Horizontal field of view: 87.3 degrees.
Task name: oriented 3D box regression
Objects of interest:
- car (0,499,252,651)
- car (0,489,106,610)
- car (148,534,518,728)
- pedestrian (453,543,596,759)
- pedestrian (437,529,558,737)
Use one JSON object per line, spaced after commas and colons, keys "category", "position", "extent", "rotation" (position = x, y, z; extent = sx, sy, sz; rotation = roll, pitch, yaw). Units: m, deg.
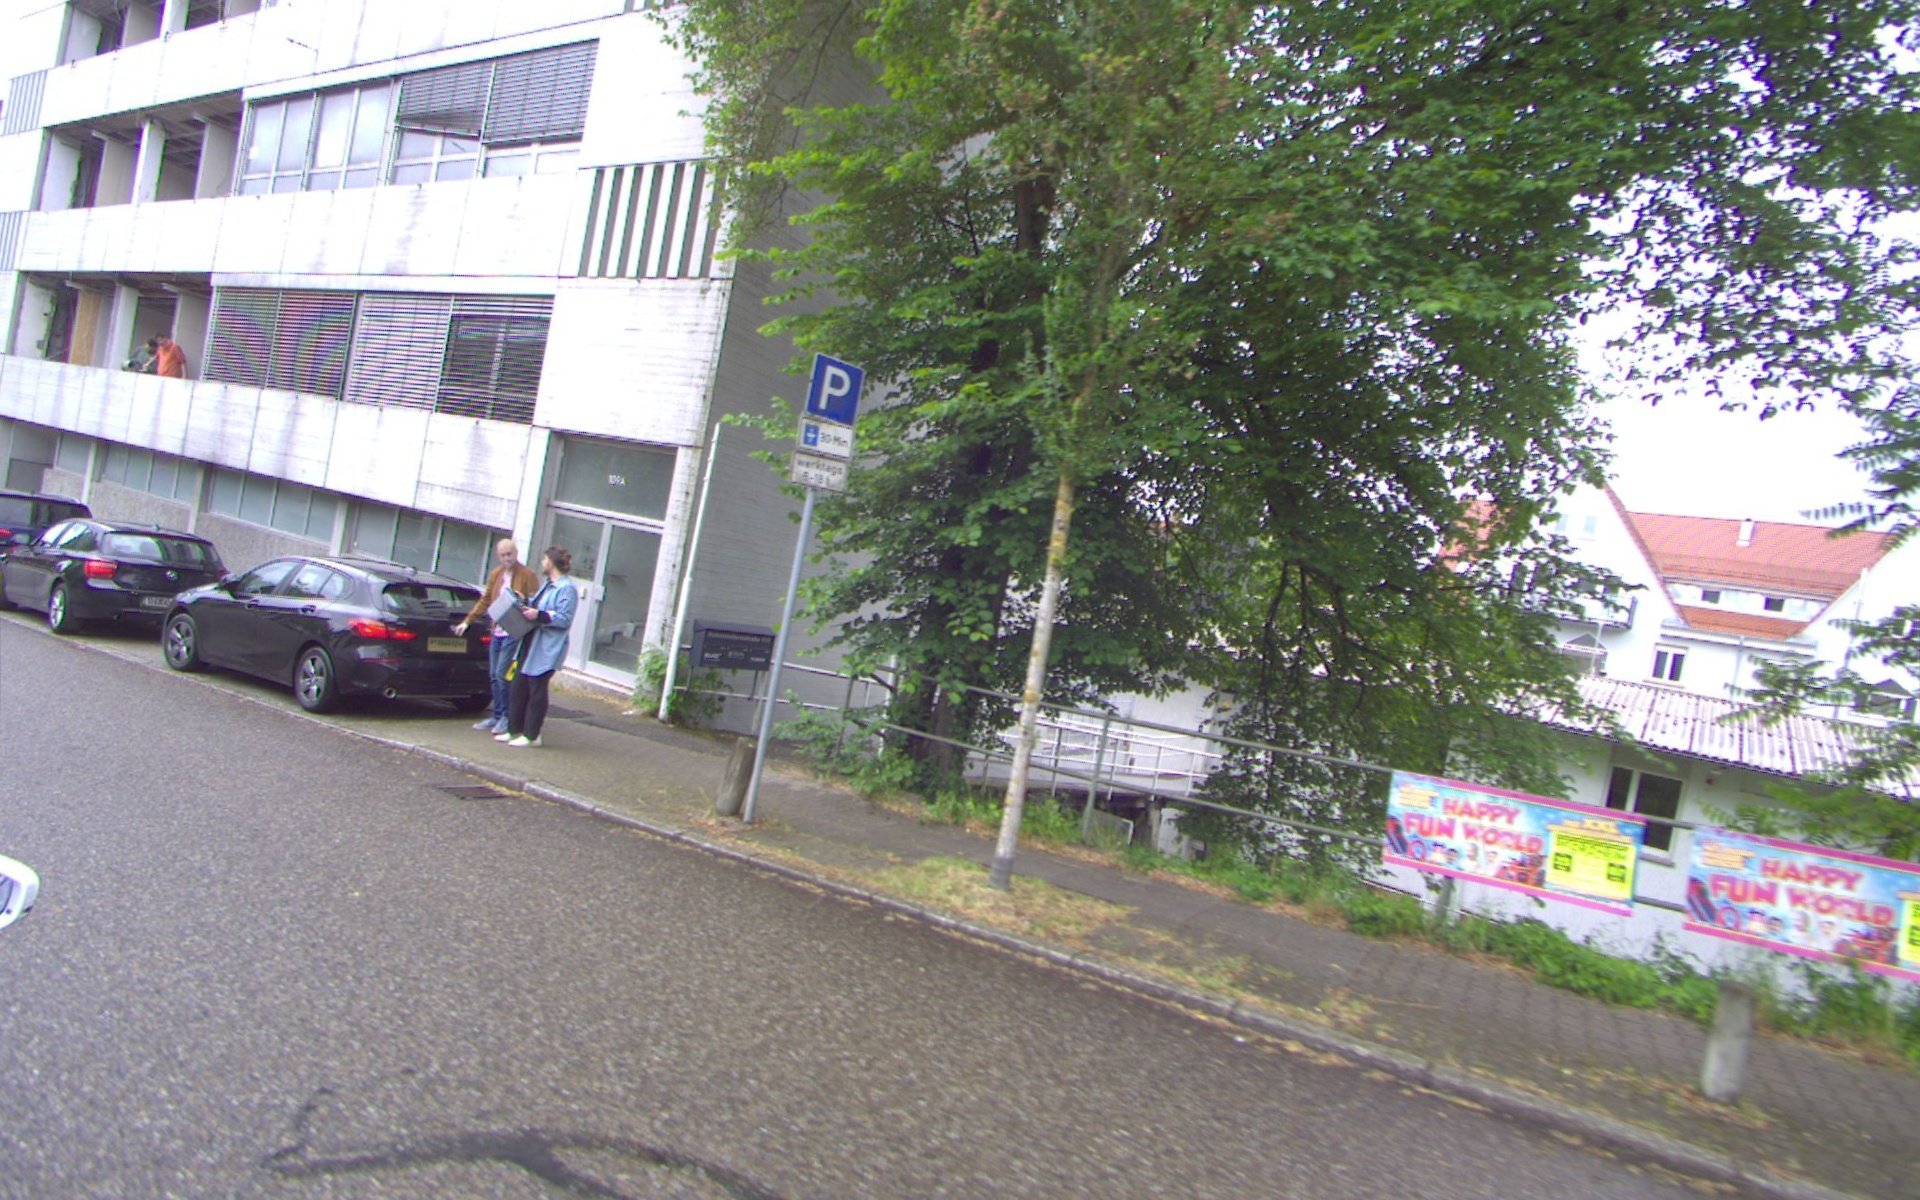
{"category": "car", "position": [-11.412, -0.370, 13.451], "extent": [3.934, 1.482, 1.684], "rotation": [8, 0, 32]}
{"category": "car", "position": [-15.342, -0.947, 15.838], "extent": [3.934, 1.590, 1.688], "rotation": [8, 0, 32]}
{"category": "car", "position": [-6.626, 0.268, 10.540], "extent": [3.932, 1.452, 1.506], "rotation": [7, -1, 30]}
{"category": "pedestrian", "position": [-3.834, 0.440, 8.861], "extent": [0.754, 1.746, 0.733], "rotation": [9, 3, 40]}
{"category": "pedestrian", "position": [-4.409, 0.309, 9.590], "extent": [0.679, 1.860, 0.662], "rotation": [9, 3, 41]}
